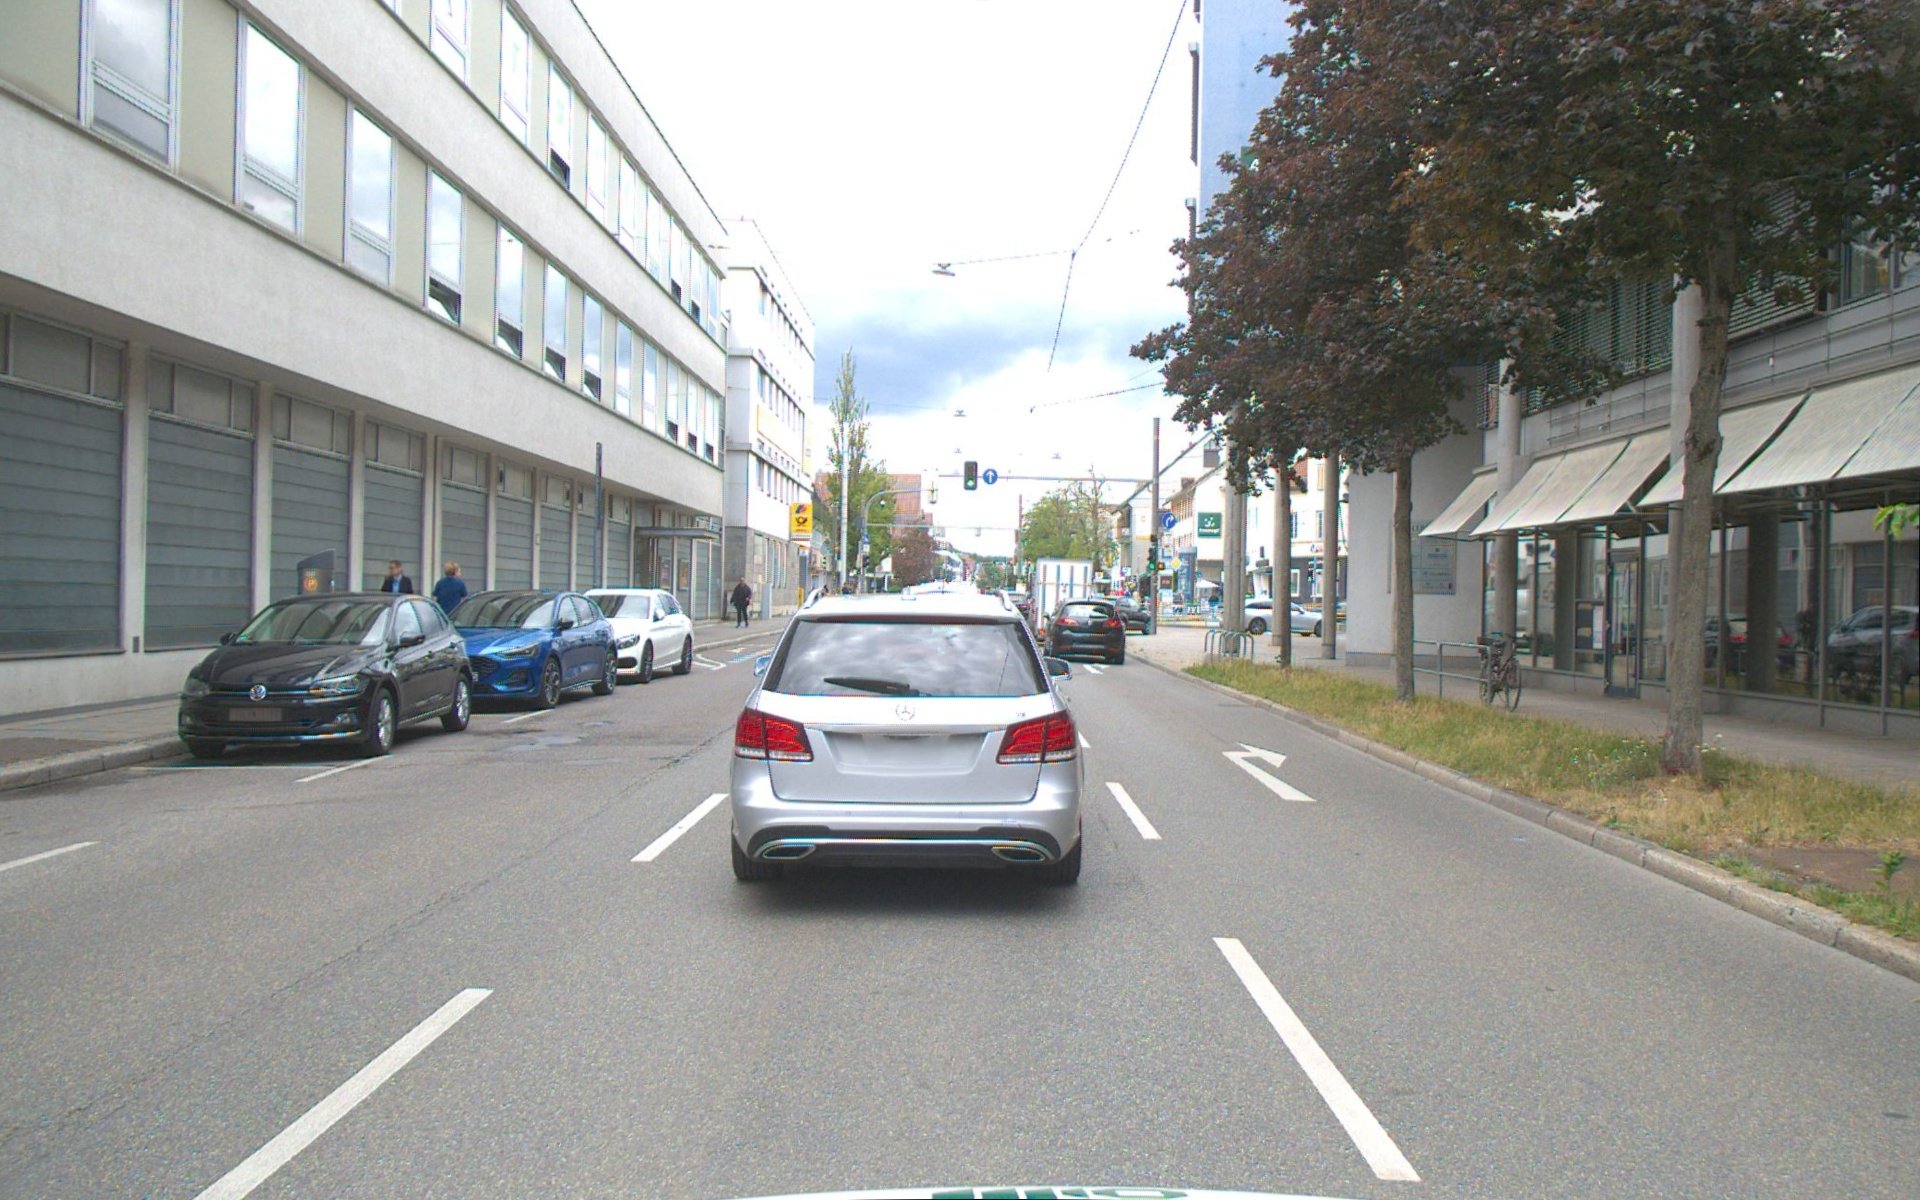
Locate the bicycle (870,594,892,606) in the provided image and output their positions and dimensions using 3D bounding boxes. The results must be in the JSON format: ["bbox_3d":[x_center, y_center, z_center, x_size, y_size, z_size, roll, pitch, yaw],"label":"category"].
[{"bbox_3d":[-7.305,-0.024,152.813,1.902,1.047,0.529,2,0,-9],"label":"bicycle"}]

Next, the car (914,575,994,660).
[{"bbox_3d":[-0.166,0.363,37.388,1.699,1.790,3.999,1,0,-1],"label":"car"}]

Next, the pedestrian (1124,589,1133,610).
[{"bbox_3d":[13.479,-0.035,132.205,0.567,1.695,0.649,2,0,-10],"label":"pedestrian"}]

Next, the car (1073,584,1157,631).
[{"bbox_3d":[5.973,0.270,63.332,1.886,1.699,3.793,1,0,28],"label":"car"}]

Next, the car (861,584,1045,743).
[{"bbox_3d":[0.031,0.612,18.221,1.698,1.534,4.002,1,0,4],"label":"car"}]

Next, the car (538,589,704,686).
[{"bbox_3d":[-5.537,0.555,27.568,1.635,1.459,4.554,-1,0,2],"label":"car"}]

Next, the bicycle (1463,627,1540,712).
[{"bbox_3d":[7.682,0.962,23.520,0.353,1.105,2.027,2,0,-1],"label":"bicycle"}]

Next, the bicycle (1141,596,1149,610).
[{"bbox_3d":[14.199,0.225,127.198,0.438,1.110,2.149,1,0,2],"label":"bicycle"}]

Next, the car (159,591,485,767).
[{"bbox_3d":[-5.903,0.651,15.812,1.681,1.450,3.869,-1,0,-1],"label":"car"}]

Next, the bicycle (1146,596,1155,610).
[{"bbox_3d":[14.639,0.224,127.192,0.438,1.127,2.149,1,0,2],"label":"bicycle"}]

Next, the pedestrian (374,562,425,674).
[{"bbox_3d":[-8.902,0.284,26.294,0.577,1.748,0.649,1,0,-2],"label":"pedestrian"}]

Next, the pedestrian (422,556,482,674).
[{"bbox_3d":[-7.703,0.222,25.108,0.577,1.748,1.055,1,0,-1],"label":"pedestrian"}]

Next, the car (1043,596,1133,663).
[{"bbox_3d":[2.950,0.648,38.890,1.699,1.435,3.999,1,1,-1],"label":"car"}]

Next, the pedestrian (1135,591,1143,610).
[{"bbox_3d":[13.993,0.046,129.169,0.566,1.495,0.651,2,0,3],"label":"pedestrian"}]

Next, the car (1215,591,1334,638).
[{"bbox_3d":[12.917,0.598,68.021,4.470,1.633,1.733,3,0,-15],"label":"car"}]

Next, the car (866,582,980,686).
[{"bbox_3d":[-0.596,0.499,26.865,1.699,1.534,3.999,1,0,-1],"label":"car"}]

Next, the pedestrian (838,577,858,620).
[{"bbox_3d":[-4.709,-0.071,69.508,0.634,1.748,0.783,2,0,8],"label":"pedestrian"}]

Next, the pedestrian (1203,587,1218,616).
[{"bbox_3d":[15.306,0.072,101.098,0.637,1.748,0.701,1,0,39],"label":"pedestrian"}]

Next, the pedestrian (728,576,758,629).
[{"bbox_3d":[-7.350,0.064,56.111,0.844,1.748,1.031,2,0,-1],"label":"pedestrian"}]

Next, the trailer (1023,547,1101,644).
[{"bbox_3d":[2.999,-0.140,49.521,1.840,2.658,4.322,3,0,-1],"label":"trailer"}]

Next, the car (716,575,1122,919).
[{"bbox_3d":[-0.225,0.650,9.525,1.808,1.534,4.170,1,0,-1],"label":"car"}]

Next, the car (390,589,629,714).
[{"bbox_3d":[-5.743,0.599,21.632,1.777,1.450,4.265,-1,0,2],"label":"car"}]

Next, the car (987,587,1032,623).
[{"bbox_3d":[2.084,0.181,70.233,1.699,1.435,3.999,1,1,-1],"label":"car"}]

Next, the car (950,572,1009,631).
[{"bbox_3d":[0.612,0.041,54.041,1.791,1.816,3.999,1,0,-1],"label":"car"}]
